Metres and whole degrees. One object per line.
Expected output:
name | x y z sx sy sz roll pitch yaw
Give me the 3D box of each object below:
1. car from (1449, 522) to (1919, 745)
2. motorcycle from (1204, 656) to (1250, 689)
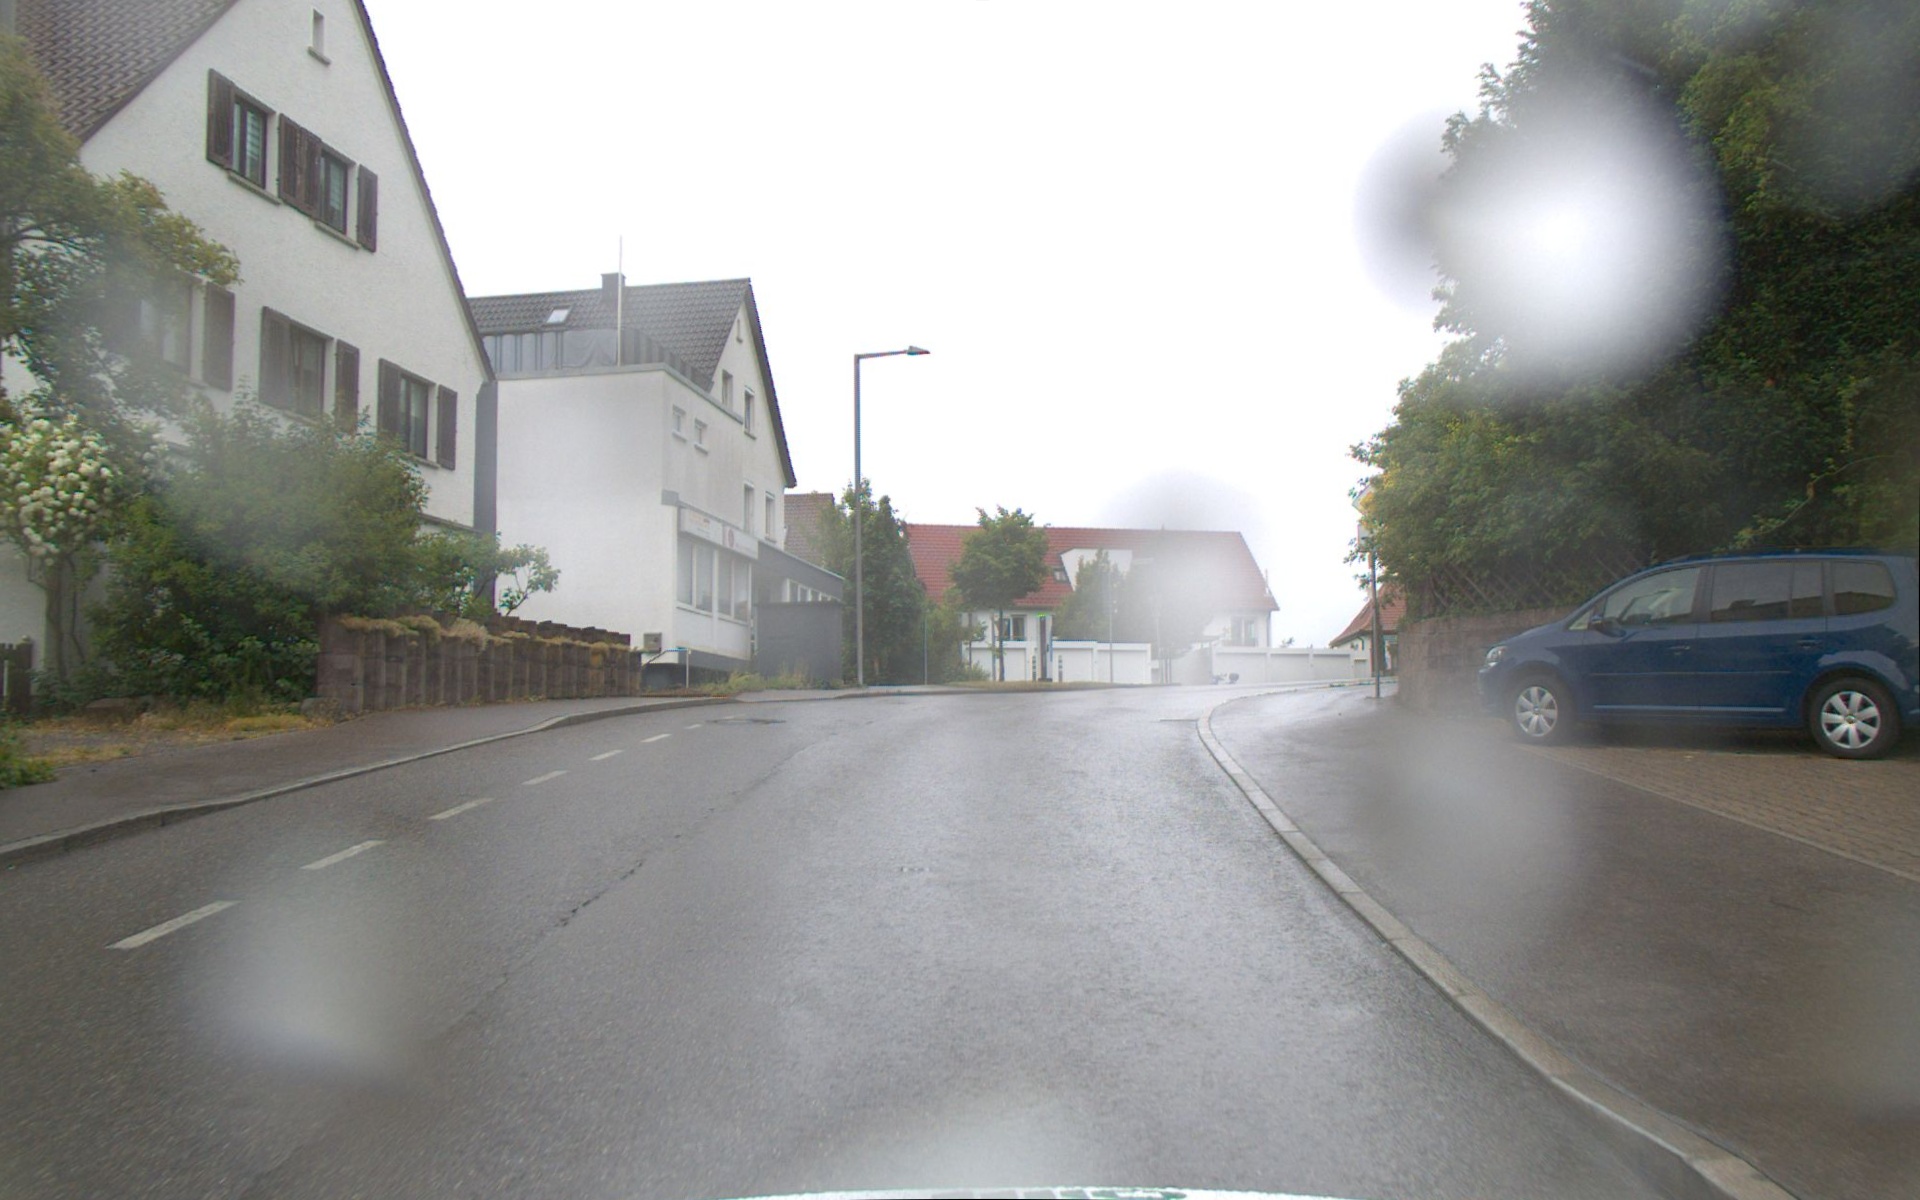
car | 6.710 0.295 14.465 1.842 1.634 4.273 -6 1 -42
motorcycle | 11.553 3.119 71.452 2.024 1.345 0.699 0 -5 -38
